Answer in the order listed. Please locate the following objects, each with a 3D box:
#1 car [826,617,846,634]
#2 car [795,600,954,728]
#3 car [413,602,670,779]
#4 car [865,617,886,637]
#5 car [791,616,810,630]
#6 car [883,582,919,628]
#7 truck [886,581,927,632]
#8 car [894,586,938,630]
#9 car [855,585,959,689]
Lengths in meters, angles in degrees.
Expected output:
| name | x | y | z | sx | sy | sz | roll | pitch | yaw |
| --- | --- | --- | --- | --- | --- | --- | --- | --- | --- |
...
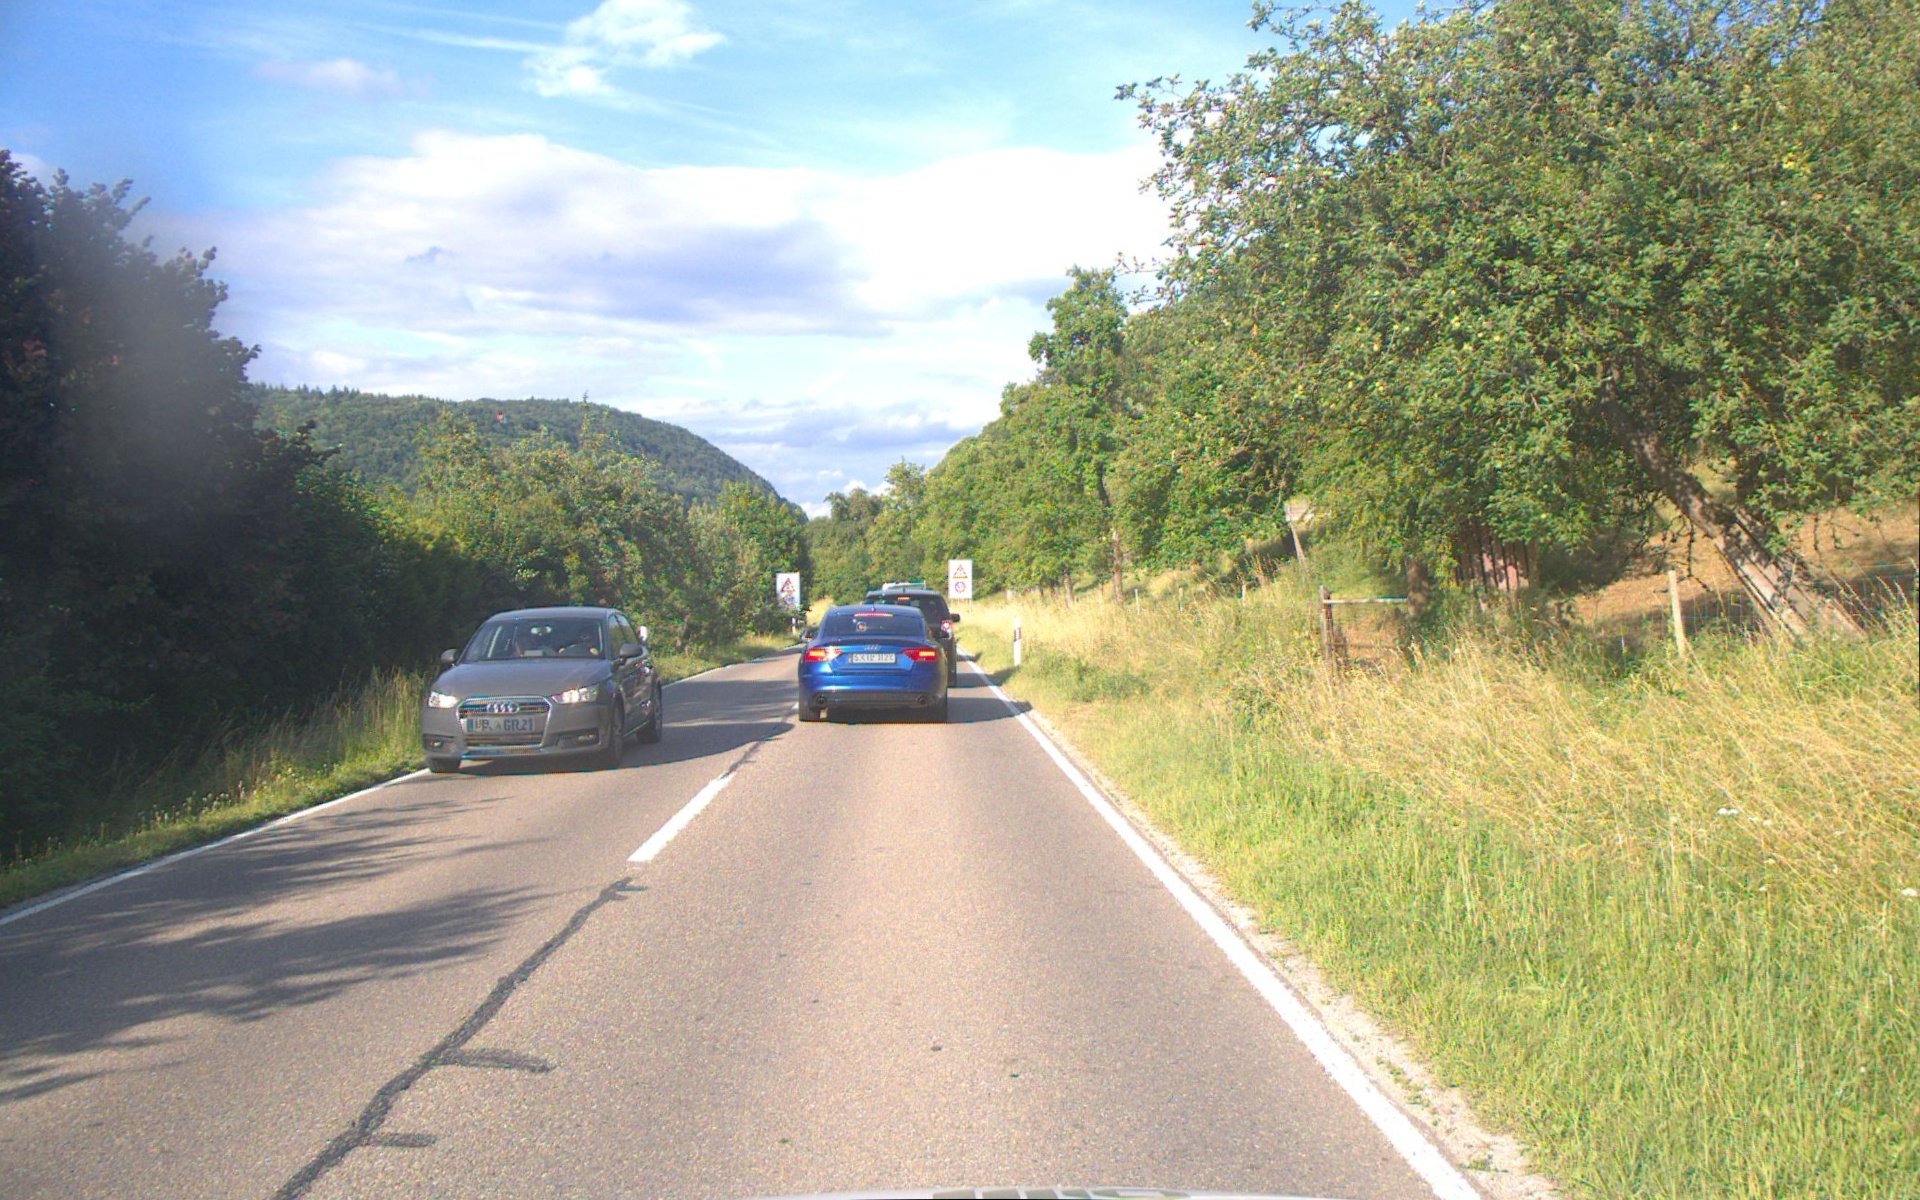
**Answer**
| name | x | y | z | sx | sy | sz | roll | pitch | yaw |
| --- | --- | --- | --- | --- | --- | --- | --- | --- | --- |
| car | -11.817 | 2.394 | 157.866 | 1.530 | 1.522 | 3.768 | 1 | 0 | -10 |
| car | -1.022 | 0.717 | 20.704 | 1.769 | 1.406 | 4.213 | 0 | 0 | -2 |
| car | -3.850 | 0.763 | 15.811 | 1.595 | 1.440 | 3.787 | -2 | 0 | -2 |
| car | -6.592 | 2.092 | 129.341 | 1.528 | 1.522 | 3.774 | 1 | 0 | -5 |
| car | -17.971 | 2.553 | 185.854 | 1.532 | 1.522 | 3.764 | 1 | 0 | -14 |
| car | -3.324 | 0.259 | 92.411 | 1.757 | 2.496 | 3.915 | 1 | 0 | -5 |
| truck | -2.689 | 0.328 | 81.856 | 1.911 | 2.386 | 5.091 | 1 | 0 | -3 |
| car | -1.720 | 0.311 | 64.280 | 1.659 | 1.652 | 3.787 | 0 | 0 | -2 |
| car | -0.919 | 0.593 | 28.312 | 1.659 | 1.652 | 3.787 | 0 | 0 | -2 |
